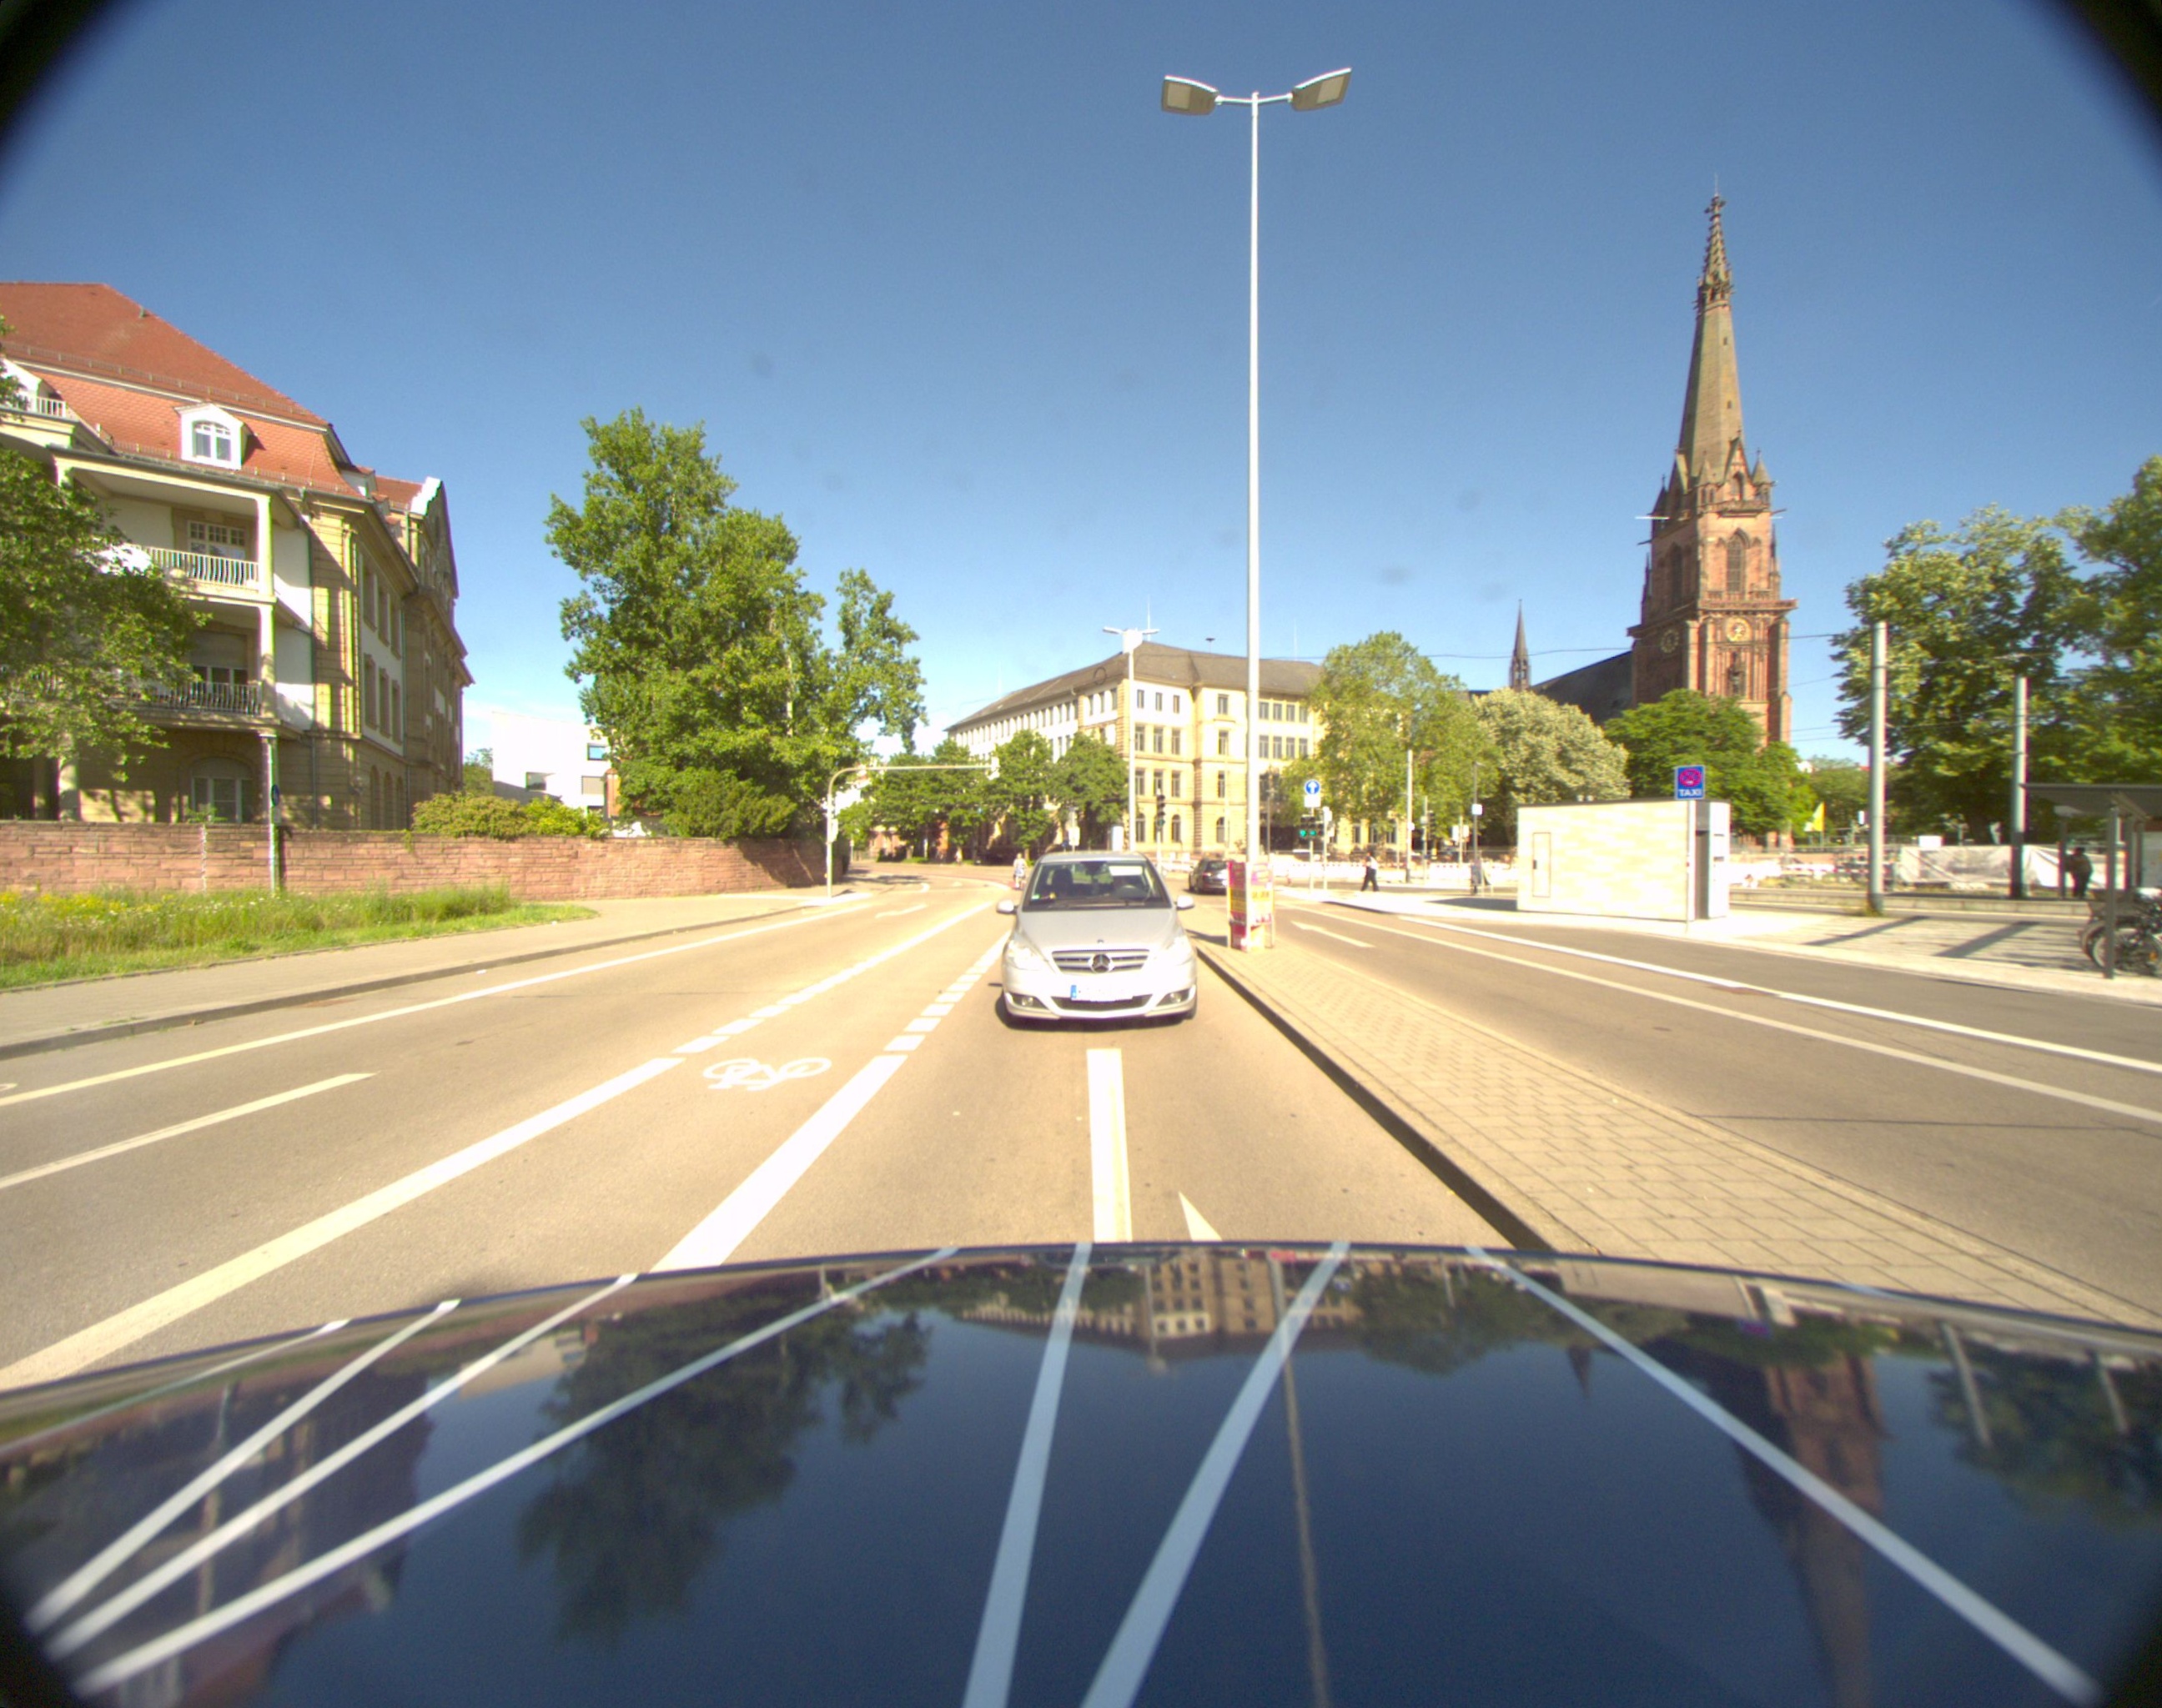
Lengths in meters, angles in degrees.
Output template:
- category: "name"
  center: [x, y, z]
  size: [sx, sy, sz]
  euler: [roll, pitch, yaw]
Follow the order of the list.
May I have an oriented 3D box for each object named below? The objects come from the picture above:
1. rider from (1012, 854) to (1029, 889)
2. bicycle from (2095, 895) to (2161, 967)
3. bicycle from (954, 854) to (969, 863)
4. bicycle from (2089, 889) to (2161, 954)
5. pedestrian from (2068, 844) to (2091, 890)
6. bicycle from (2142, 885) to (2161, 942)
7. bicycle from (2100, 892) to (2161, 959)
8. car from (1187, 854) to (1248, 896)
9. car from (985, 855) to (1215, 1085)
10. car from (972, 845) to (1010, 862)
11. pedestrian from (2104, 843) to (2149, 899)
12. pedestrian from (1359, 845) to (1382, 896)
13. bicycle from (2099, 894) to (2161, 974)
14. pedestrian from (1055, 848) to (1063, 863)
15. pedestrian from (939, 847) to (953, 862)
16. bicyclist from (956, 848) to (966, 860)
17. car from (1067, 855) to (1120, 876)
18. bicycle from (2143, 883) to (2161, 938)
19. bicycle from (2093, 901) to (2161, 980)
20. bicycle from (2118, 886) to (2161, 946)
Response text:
- category: "rider"
  center: [-2.839, 0.799, 35.543]
  size: [0.658, 1.610, 0.989]
  euler: [-1, 1, 1]
- category: "bicycle"
  center: [16.072, 1.151, 10.979]
  size: [0.458, 1.003, 1.667]
  euler: [-1, 1, -33]
- category: "bicycle"
  center: [-13.732, 0.513, 87.130]
  size: [1.830, 0.985, 0.735]
  euler: [0, 1, 44]
- category: "bicycle"
  center: [17.912, 1.124, 12.430]
  size: [0.458, 1.003, 1.667]
  euler: [-1, 1, -33]
- category: "pedestrian"
  center: [37.570, 0.496, 28.581]
  size: [0.404, 1.711, 0.419]
  euler: [1, 1, 38]
- category: "bicycle"
  center: [19.893, 1.073, 13.202]
  size: [0.458, 1.003, 1.667]
  euler: [-1, 1, -33]
- category: "bicycle"
  center: [17.259, 1.145, 11.657]
  size: [0.458, 1.003, 1.899]
  euler: [-1, 1, -33]
- category: "car"
  center: [5.430, 0.775, 30.760]
  size: [1.793, 1.490, 4.575]
  euler: [1, 1, 2]
- category: "car"
  center: [0.112, 0.882, 7.718]
  size: [1.706, 1.657, 3.913]
  euler: [-1, 1, -1]
- category: "car"
  center: [-10.730, -0.037, 90.763]
  size: [1.994, 2.002, 4.721]
  euler: [0, 1, 32]
- category: "pedestrian"
  center: [33.385, 0.527, 24.279]
  size: [0.980, 1.769, 0.801]
  euler: [-1, 1, -37]
- category: "pedestrian"
  center: [10.606, 0.606, 27.885]
  size: [0.693, 1.844, 0.679]
  euler: [0, 1, 12]
- category: "bicycle"
  center: [15.199, 1.121, 10.282]
  size: [0.458, 1.055, 1.667]
  euler: [-1, 1, -33]
- category: "pedestrian"
  center: [-2.435, 0.162, 82.713]
  size: [0.677, 1.714, 0.588]
  euler: [-1, 1, -22]
- category: "pedestrian"
  center: [-16.676, 0.107, 93.710]
  size: [0.934, 1.812, 1.394]
  euler: [1, 1, 45]
- category: "bicyclist"
  center: [-13.724, 0.040, 87.108]
  size: [0.893, 1.377, 0.735]
  euler: [1, 1, 44]
- category: "car"
  center: [0.899, 0.855, 58.737]
  size: [1.865, 1.533, 4.228]
  euler: [1, 1, -37]
- category: "bicycle"
  center: [20.487, 1.061, 13.613]
  size: [0.458, 1.003, 1.667]
  euler: [-1, 1, -33]
- category: "bicycle"
  center: [14.698, 1.169, 9.968]
  size: [0.458, 1.003, 1.667]
  euler: [-1, 1, -33]
- category: "bicycle"
  center: [19.126, 1.096, 12.951]
  size: [0.458, 1.003, 1.667]
  euler: [-1, 1, -33]
